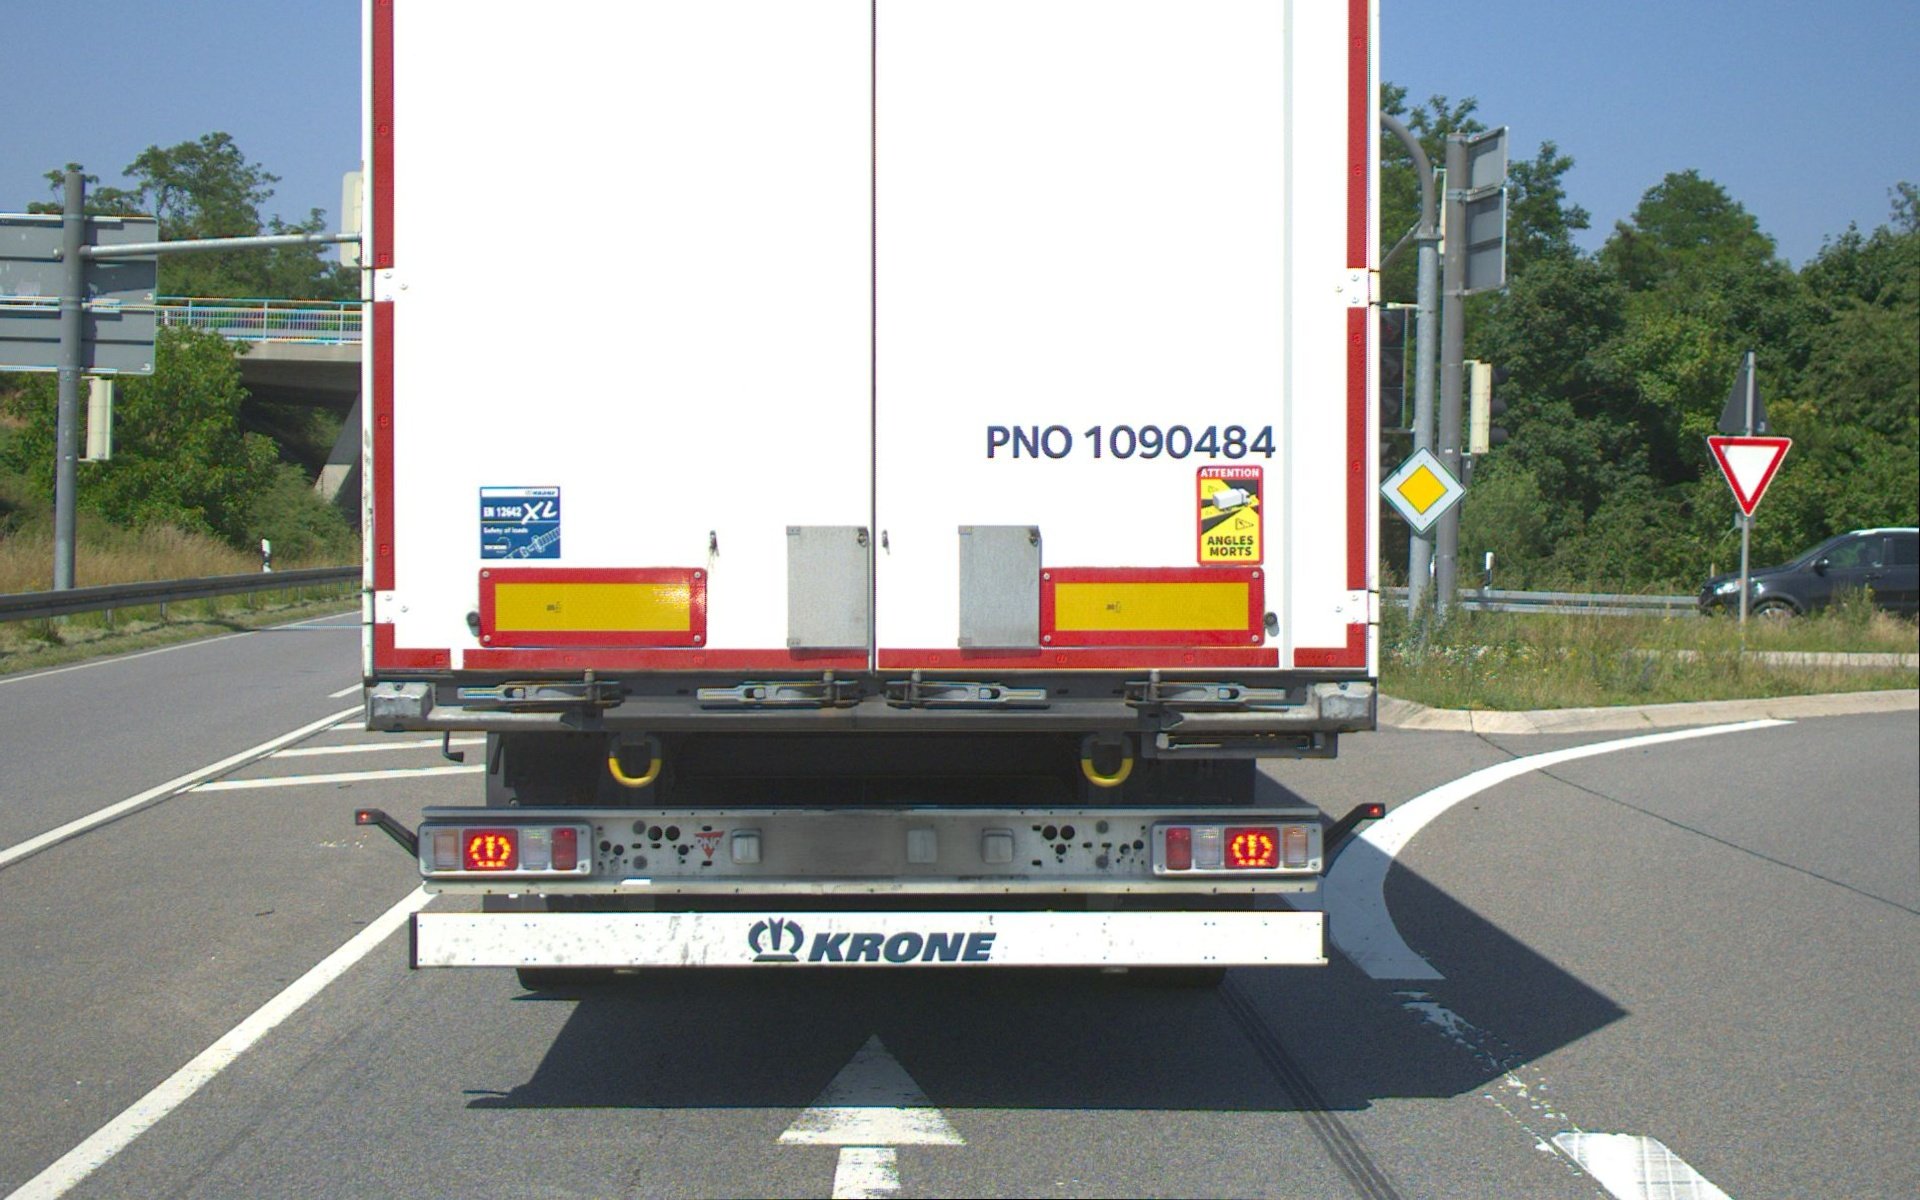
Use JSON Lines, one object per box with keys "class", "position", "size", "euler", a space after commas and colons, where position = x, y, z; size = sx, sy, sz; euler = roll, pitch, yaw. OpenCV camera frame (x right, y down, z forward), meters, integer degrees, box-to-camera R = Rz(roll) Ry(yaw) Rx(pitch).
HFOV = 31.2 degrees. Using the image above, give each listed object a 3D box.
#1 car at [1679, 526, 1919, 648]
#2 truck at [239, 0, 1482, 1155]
{"class": "car", "position": [12.108, -0.188, 47.646], "size": [3.986, 1.634, 1.841], "euler": [1, 0, 5]}
{"class": "truck", "position": [-0.330, -0.704, 13.259], "size": [2.987, 3.928, 9.876], "euler": [0, 1, -1]}
